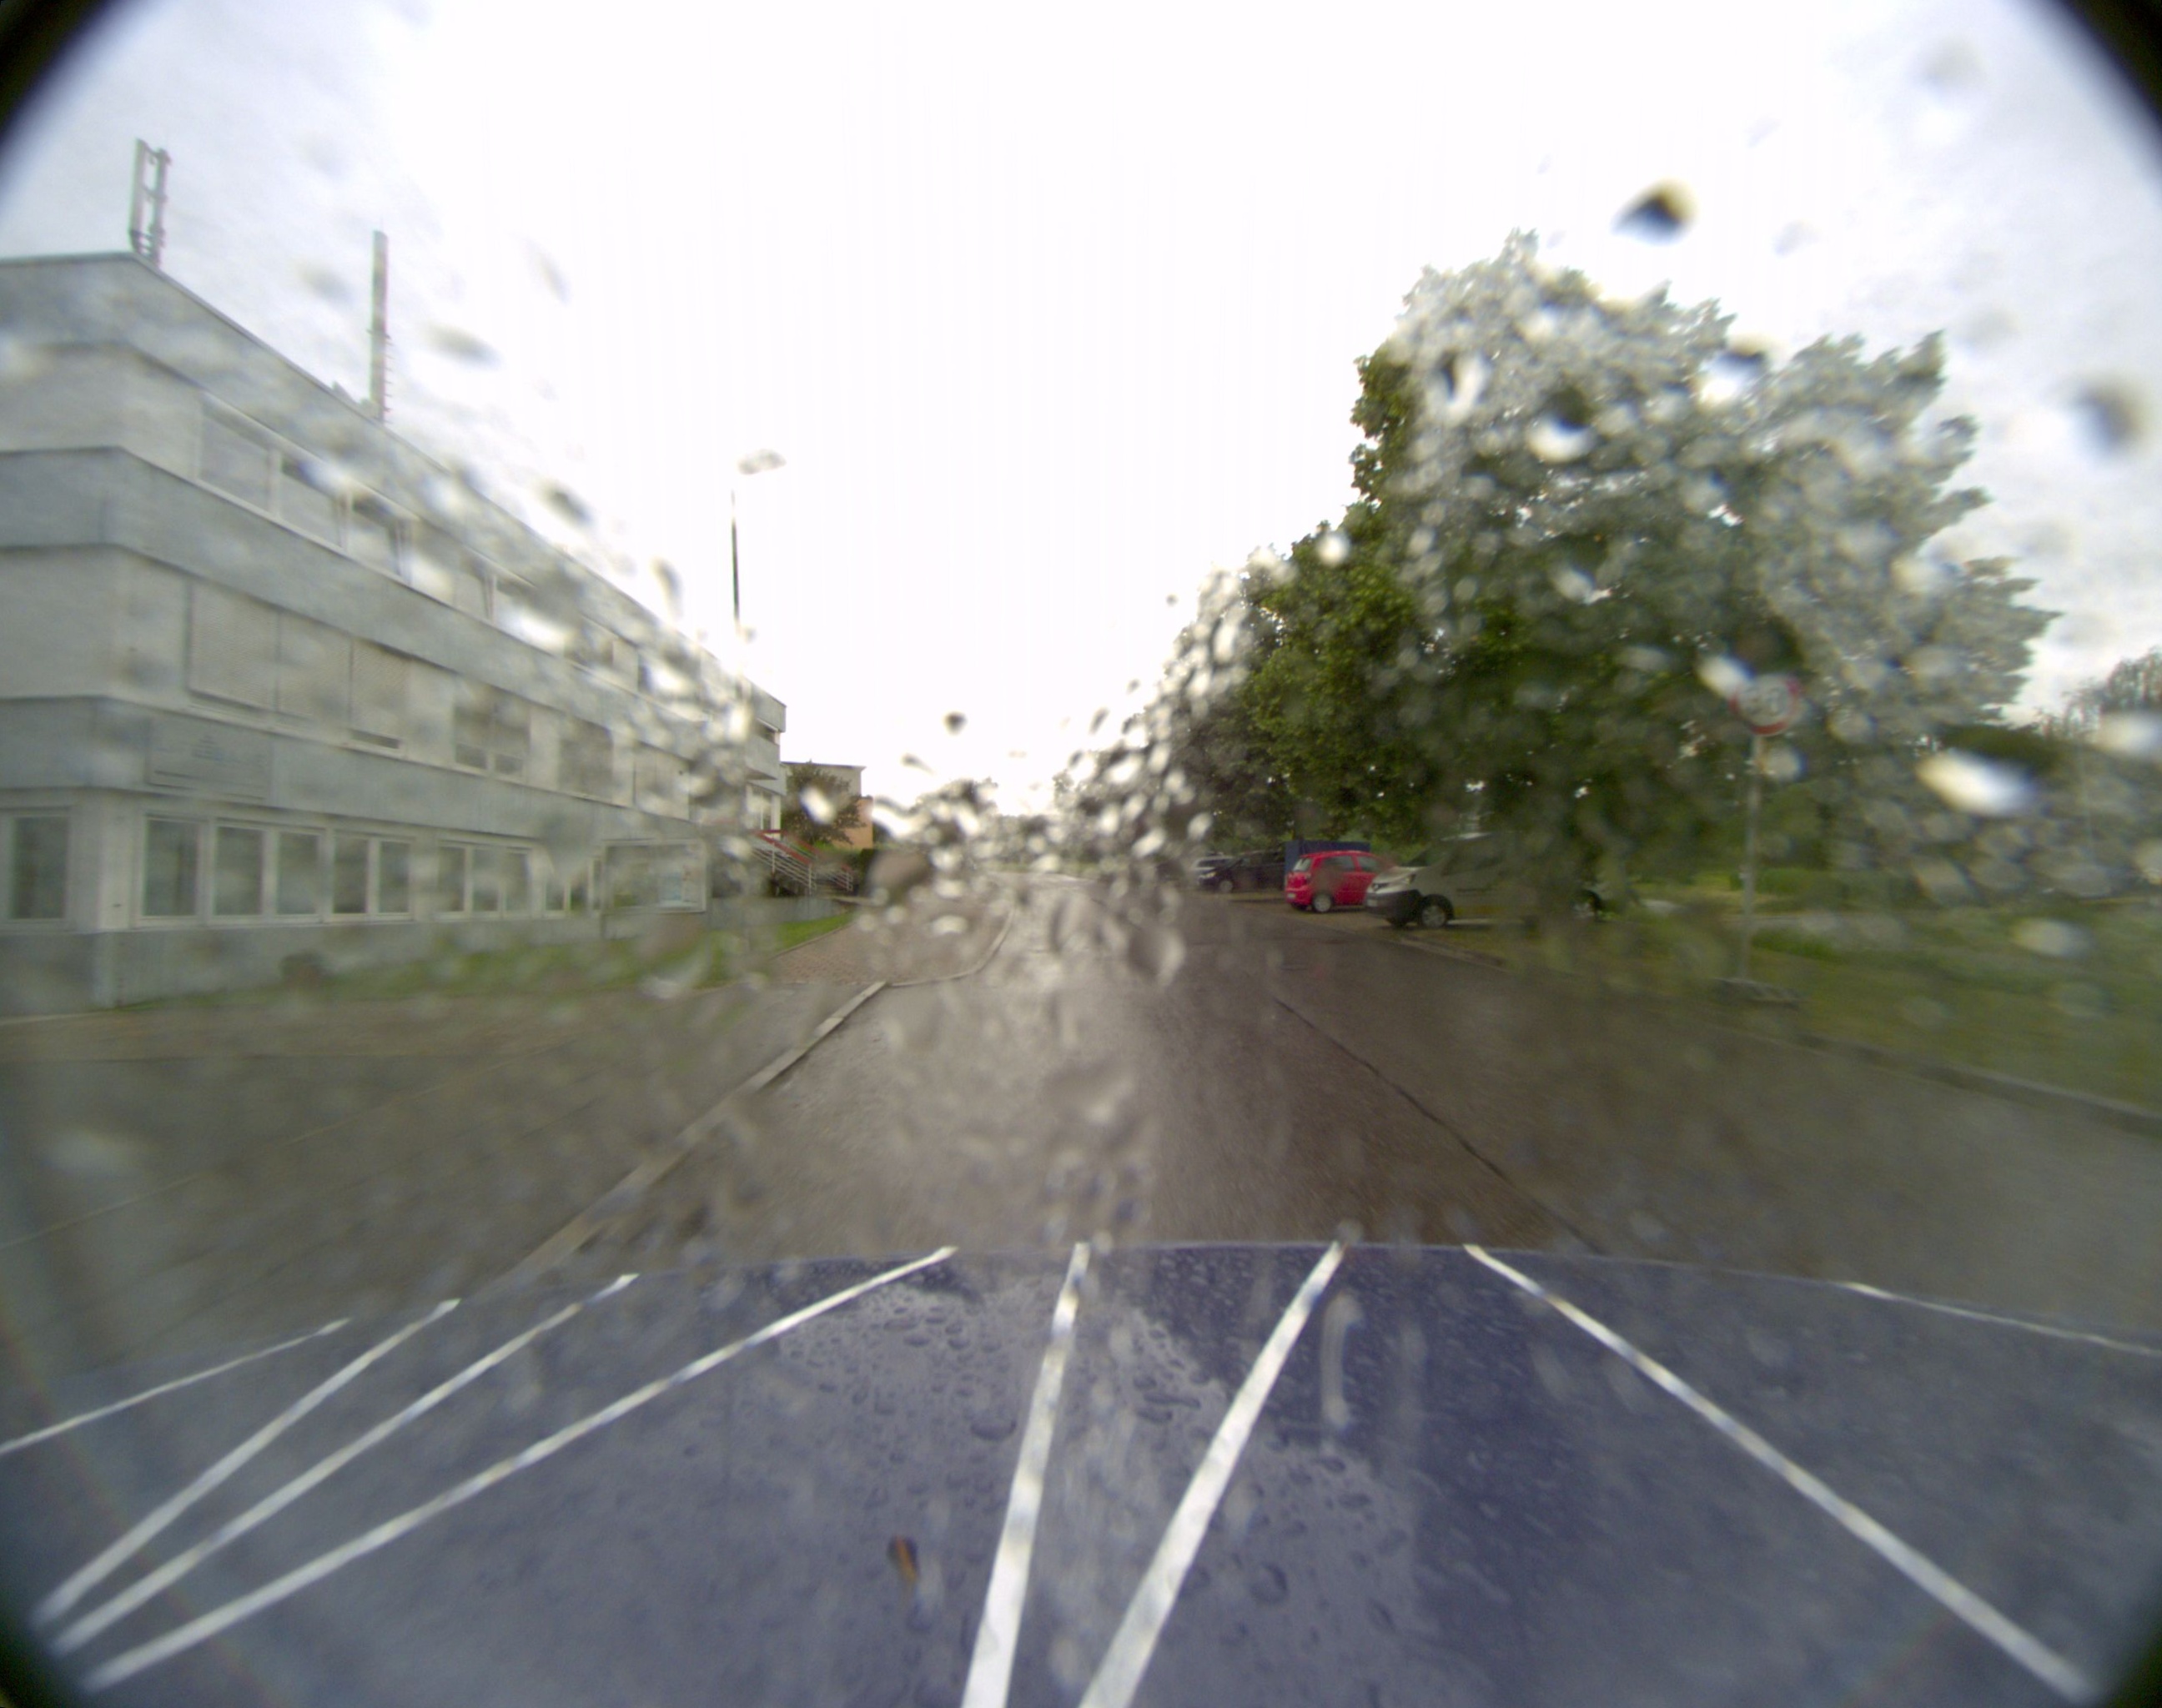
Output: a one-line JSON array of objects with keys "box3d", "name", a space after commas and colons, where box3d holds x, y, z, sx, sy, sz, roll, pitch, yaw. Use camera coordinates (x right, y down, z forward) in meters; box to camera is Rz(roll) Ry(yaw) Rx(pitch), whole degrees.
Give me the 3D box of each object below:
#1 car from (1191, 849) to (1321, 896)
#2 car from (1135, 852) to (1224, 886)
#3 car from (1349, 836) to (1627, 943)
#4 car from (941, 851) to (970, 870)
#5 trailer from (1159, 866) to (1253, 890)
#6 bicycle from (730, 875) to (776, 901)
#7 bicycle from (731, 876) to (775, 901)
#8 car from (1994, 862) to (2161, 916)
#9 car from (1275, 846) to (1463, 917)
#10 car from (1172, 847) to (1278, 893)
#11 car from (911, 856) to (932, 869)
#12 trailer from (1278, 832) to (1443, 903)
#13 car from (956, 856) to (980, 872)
[{"box3d": [6.844, 0.714, 30.053, 4.630, 1.580, 1.805, -3, 1, -3], "name": "car"}, {"box3d": [5.229, 0.755, 40.621, 4.381, 1.712, 2.043, -1, 1, -7], "name": "car"}, {"box3d": [7.600, 0.635, 14.537, 4.310, 1.895, 1.862, 0, 1, 2], "name": "car"}, {"box3d": [-15.569, 0.828, 94.110, 2.057, 2.317, 5.396, -1, 0, -26], "name": "car"}, {"box3d": [5.763, 1.092, 35.324, 3.953, 0.955, 1.999, -2, 0, -5], "name": "trailer"}, {"box3d": [-11.733, 1.209, 27.172, 1.473, 0.897, 0.285, -1, 1, -24], "name": "bicycle"}, {"box3d": [-11.849, 1.243, 27.450, 1.423, 0.825, 0.285, -1, 1, -24], "name": "bicycle"}, {"box3d": [43.900, 1.492, 33.372, 4.493, 2.207, 1.933, 1, 0, 18], "name": "car"}, {"box3d": [7.350, 0.661, 19.587, 4.209, 1.712, 1.754, -1, 1, -7], "name": "car"}, {"box3d": [6.117, 0.662, 32.687, 4.085, 1.712, 2.025, -3, 1, -2], "name": "car"}, {"box3d": [-22.574, 1.150, 107.558, 1.828, 1.775, 3.810, -1, 1, -30], "name": "car"}, {"box3d": [8.192, 0.378, 22.497, 4.224, 1.973, 1.773, -1, 1, -4], "name": "trailer"}, {"box3d": [-13.173, 1.159, 88.595, 1.819, 1.717, 4.643, -1, 1, -21], "name": "car"}]
